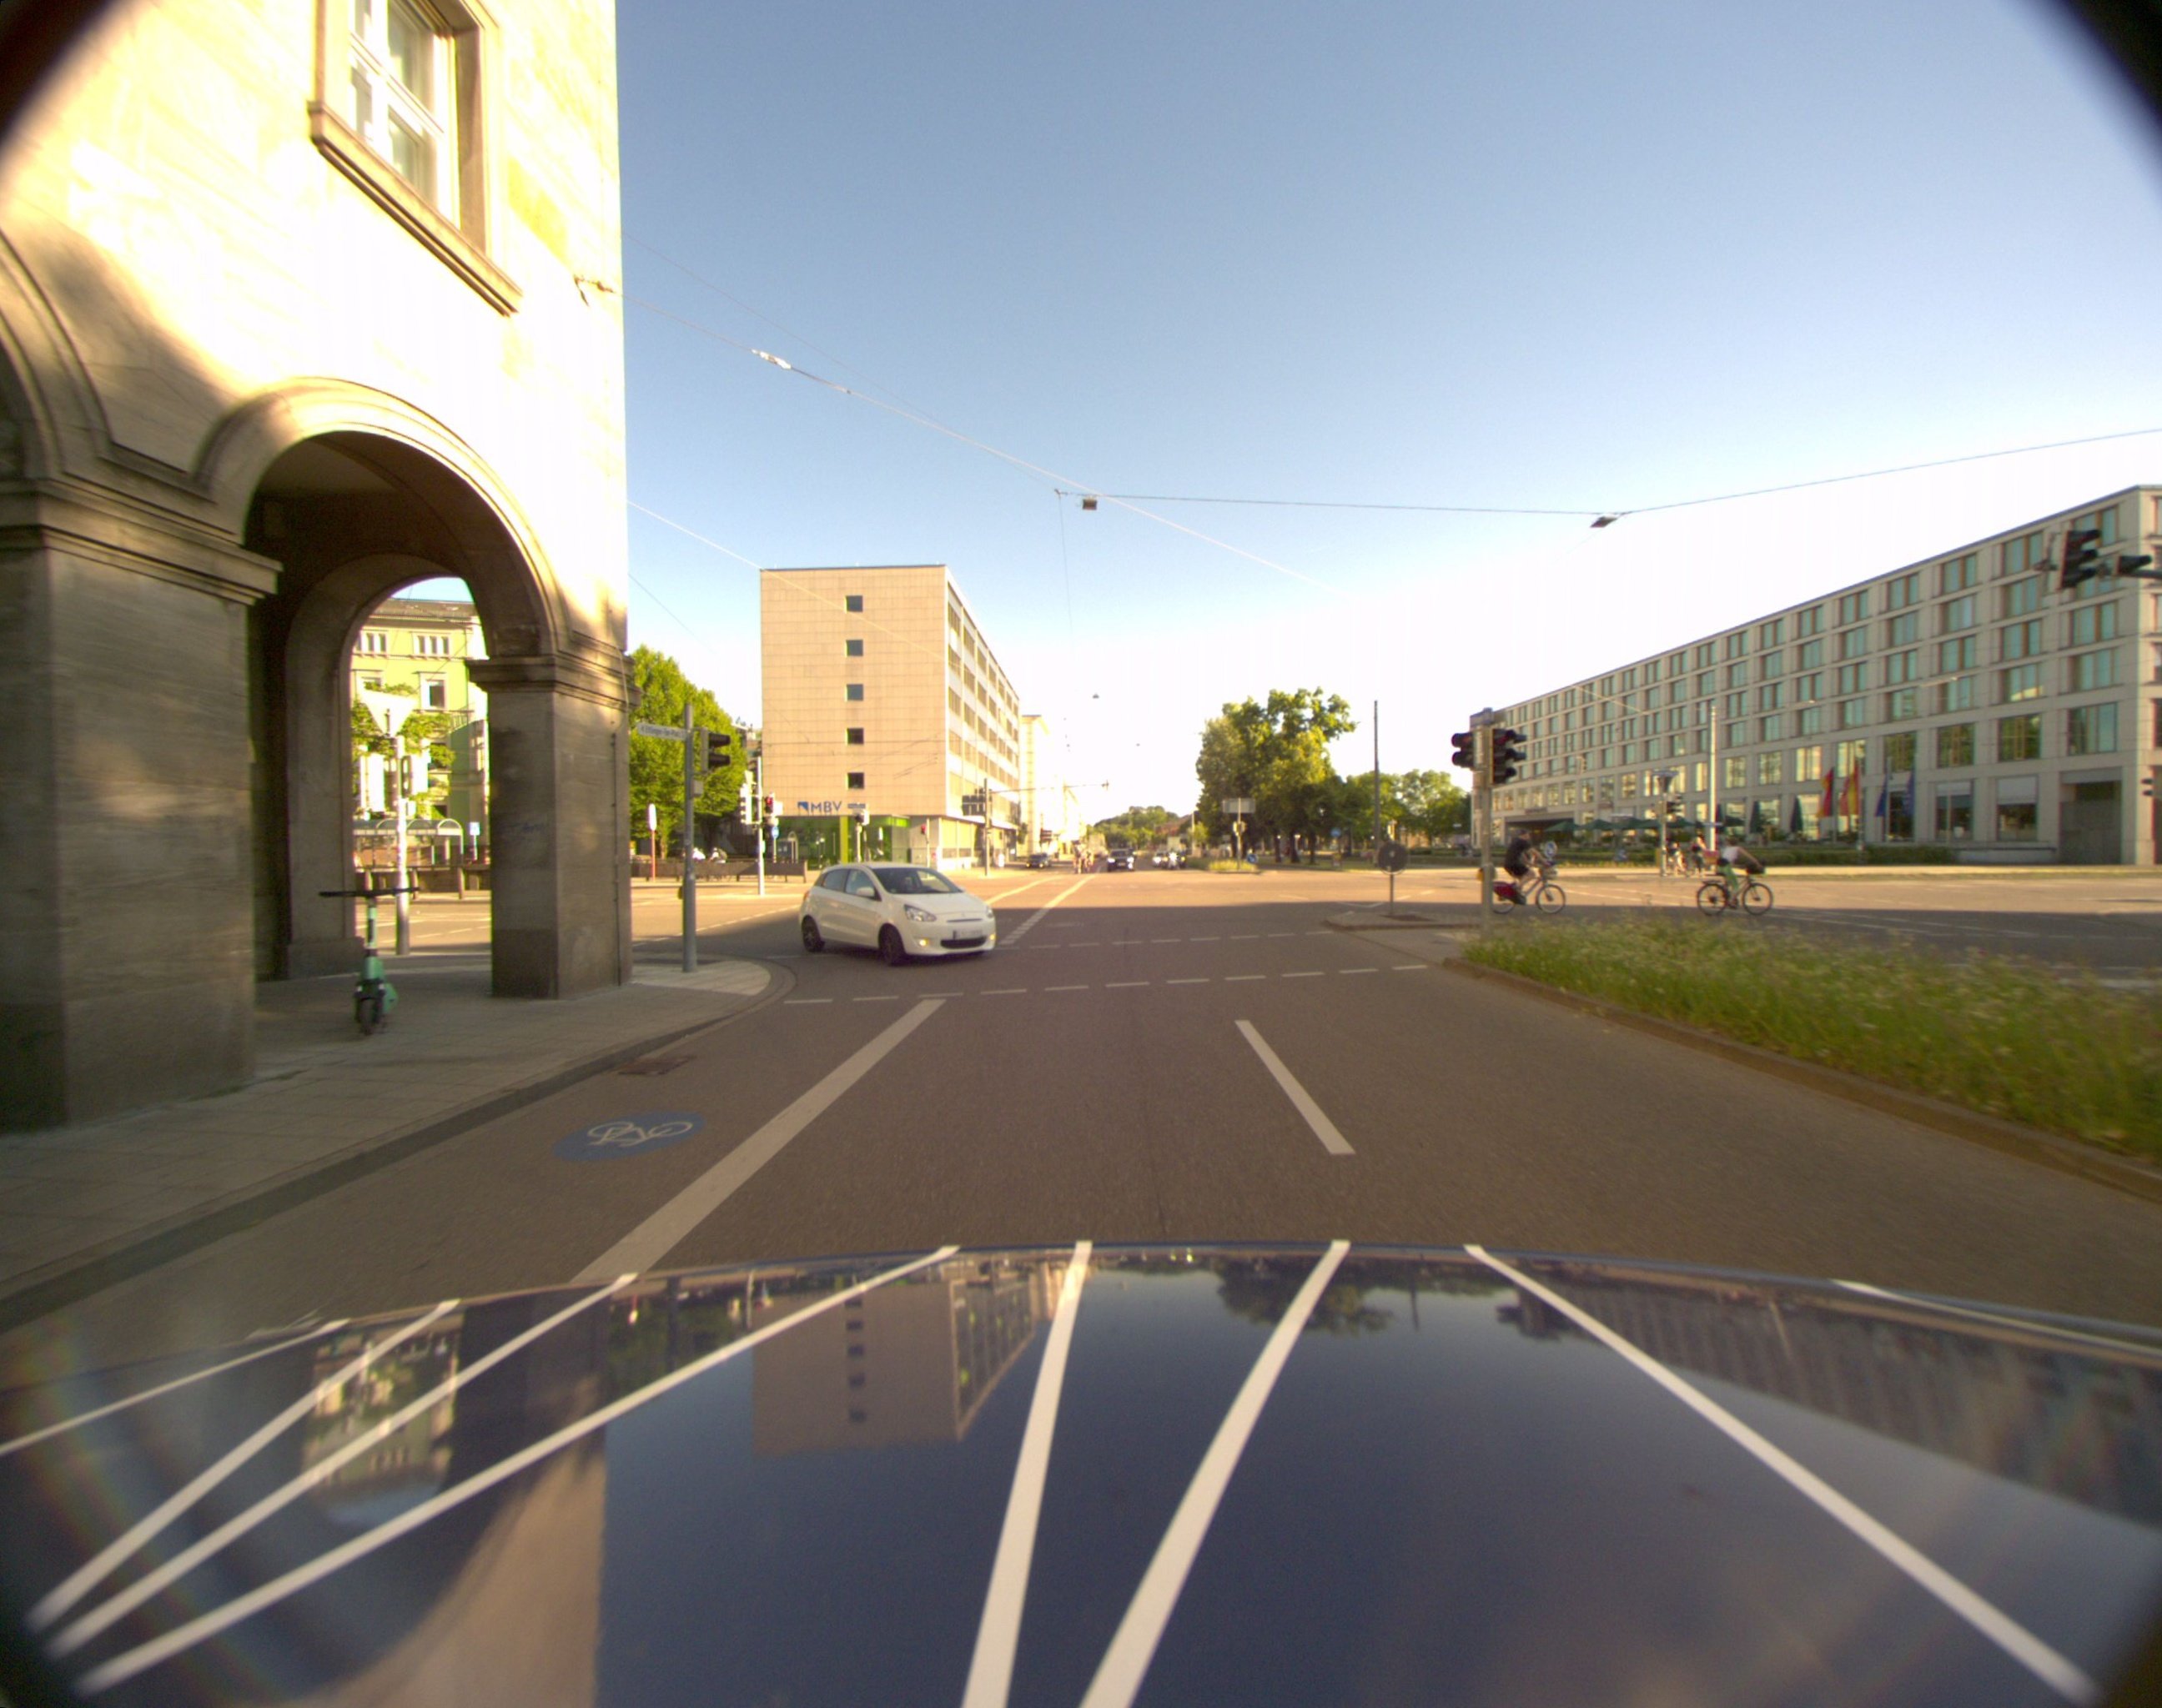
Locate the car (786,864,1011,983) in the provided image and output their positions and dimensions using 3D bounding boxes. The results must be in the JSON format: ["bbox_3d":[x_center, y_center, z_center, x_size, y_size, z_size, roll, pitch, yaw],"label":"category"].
[{"bbox_3d":[-2.995,0.962,12.049,3.754,1.456,1.683,1,3,44],"label":"car"}]

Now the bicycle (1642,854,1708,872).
[{"bbox_3d":[28.437,0.420,36.414,2.330,0.846,0.844,0,1,22],"label":"bicycle"}]

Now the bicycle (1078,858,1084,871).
[{"bbox_3d":[0.009,0.765,54.086,0.351,0.869,1.385,-1,1,2],"label":"bicycle"}]

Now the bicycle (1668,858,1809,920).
[{"bbox_3d":[14.260,0.746,16.527,2.310,1.233,0.778,-1,3,2],"label":"bicycle"}]

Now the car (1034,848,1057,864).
[{"bbox_3d":[-3.780,0.184,81.219,1.998,1.564,4.549,-1,1,3],"label":"car"}]

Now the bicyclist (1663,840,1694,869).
[{"bbox_3d":[28.566,0.018,36.352,0.970,1.354,0.828,0,1,22],"label":"bicyclist"}]

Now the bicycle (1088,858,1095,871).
[{"bbox_3d":[0.723,0.758,54.267,0.452,0.869,1.385,-1,1,2],"label":"bicycle"}]

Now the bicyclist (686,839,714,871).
[{"bbox_3d":[-18.833,0.045,37.549,0.886,1.499,0.909,4,4,38],"label":"bicyclist"}]

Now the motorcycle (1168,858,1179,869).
[{"bbox_3d":[6.772,0.666,55.524,0.623,0.791,1.309,-1,1,-1],"label":"motorcycle"}]

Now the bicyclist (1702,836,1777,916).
[{"bbox_3d":[14.269,0.468,16.497,0.924,1.681,0.775,-1,3,2],"label":"bicyclist"}]

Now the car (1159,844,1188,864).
[{"bbox_3d":[7.503,-0.003,61.805,1.998,1.564,4.549,-1,1,3],"label":"car"}]

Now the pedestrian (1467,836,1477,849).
[{"bbox_3d":[44.531,-1.303,86.588,0.784,1.517,0.762,0,1,3],"label":"pedestrian"}]

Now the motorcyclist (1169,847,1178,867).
[{"bbox_3d":[6.763,0.186,55.588,0.607,1.438,0.736,-1,1,-1],"label":"motorcyclist"}]

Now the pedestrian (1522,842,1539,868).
[{"bbox_3d":[26.592,0.077,44.942,0.623,1.517,0.603,-1,1,-2],"label":"pedestrian"}]

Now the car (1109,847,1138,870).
[{"bbox_3d":[3.098,0.278,55.517,1.998,1.564,4.549,-1,1,3],"label":"car"}]

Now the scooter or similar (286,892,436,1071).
[{"bbox_3d":[-5.831,0.961,6.225,0.643,1.216,1.261,1,1,-32],"label":"scooter or similar"}]

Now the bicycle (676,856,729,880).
[{"bbox_3d":[-18.771,0.684,37.699,0.881,1.061,2.187,4,4,38],"label":"bicycle"}]

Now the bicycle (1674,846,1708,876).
[{"bbox_3d":[25.300,0.267,31.552,0.844,1.223,2.018,0,1,32],"label":"bicycle"}]

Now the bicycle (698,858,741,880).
[{"bbox_3d":[-18.860,0.770,39.643,1.911,1.061,0.752,-1,4,-40],"label":"bicycle"}]

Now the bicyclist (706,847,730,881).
[{"bbox_3d":[-18.919,0.522,39.630,0.948,1.682,0.762,-1,5,-41],"label":"bicyclist"}]

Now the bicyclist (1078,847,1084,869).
[{"bbox_3d":[0.004,0.278,54.073,0.358,1.567,0.535,-1,1,2],"label":"bicyclist"}]

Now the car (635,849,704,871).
[{"bbox_3d":[-30.078,0.426,55.638,3.998,1.576,1.739,0,3,-2],"label":"car"}]

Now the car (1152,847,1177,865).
[{"bbox_3d":[7.756,0.141,70.770,1.998,1.564,4.549,-1,1,3],"label":"car"}]

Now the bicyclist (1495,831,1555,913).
[{"bbox_3d":[9.654,0.367,16.537,0.838,1.734,0.754,0,3,2],"label":"bicyclist"}]

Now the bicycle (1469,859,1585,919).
[{"bbox_3d":[9.680,0.741,16.550,2.019,1.233,0.778,0,3,2],"label":"bicycle"}]

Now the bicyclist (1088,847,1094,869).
[{"bbox_3d":[0.719,0.292,54.193,0.453,1.567,0.535,-1,1,2],"label":"bicyclist"}]

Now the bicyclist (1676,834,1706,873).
[{"bbox_3d":[25.273,-0.018,31.513,0.850,1.610,0.974,0,1,32],"label":"bicyclist"}]

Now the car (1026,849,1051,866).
[{"bbox_3d":[-4.214,0.311,75.169,1.998,1.564,4.549,-1,1,3],"label":"car"}]
